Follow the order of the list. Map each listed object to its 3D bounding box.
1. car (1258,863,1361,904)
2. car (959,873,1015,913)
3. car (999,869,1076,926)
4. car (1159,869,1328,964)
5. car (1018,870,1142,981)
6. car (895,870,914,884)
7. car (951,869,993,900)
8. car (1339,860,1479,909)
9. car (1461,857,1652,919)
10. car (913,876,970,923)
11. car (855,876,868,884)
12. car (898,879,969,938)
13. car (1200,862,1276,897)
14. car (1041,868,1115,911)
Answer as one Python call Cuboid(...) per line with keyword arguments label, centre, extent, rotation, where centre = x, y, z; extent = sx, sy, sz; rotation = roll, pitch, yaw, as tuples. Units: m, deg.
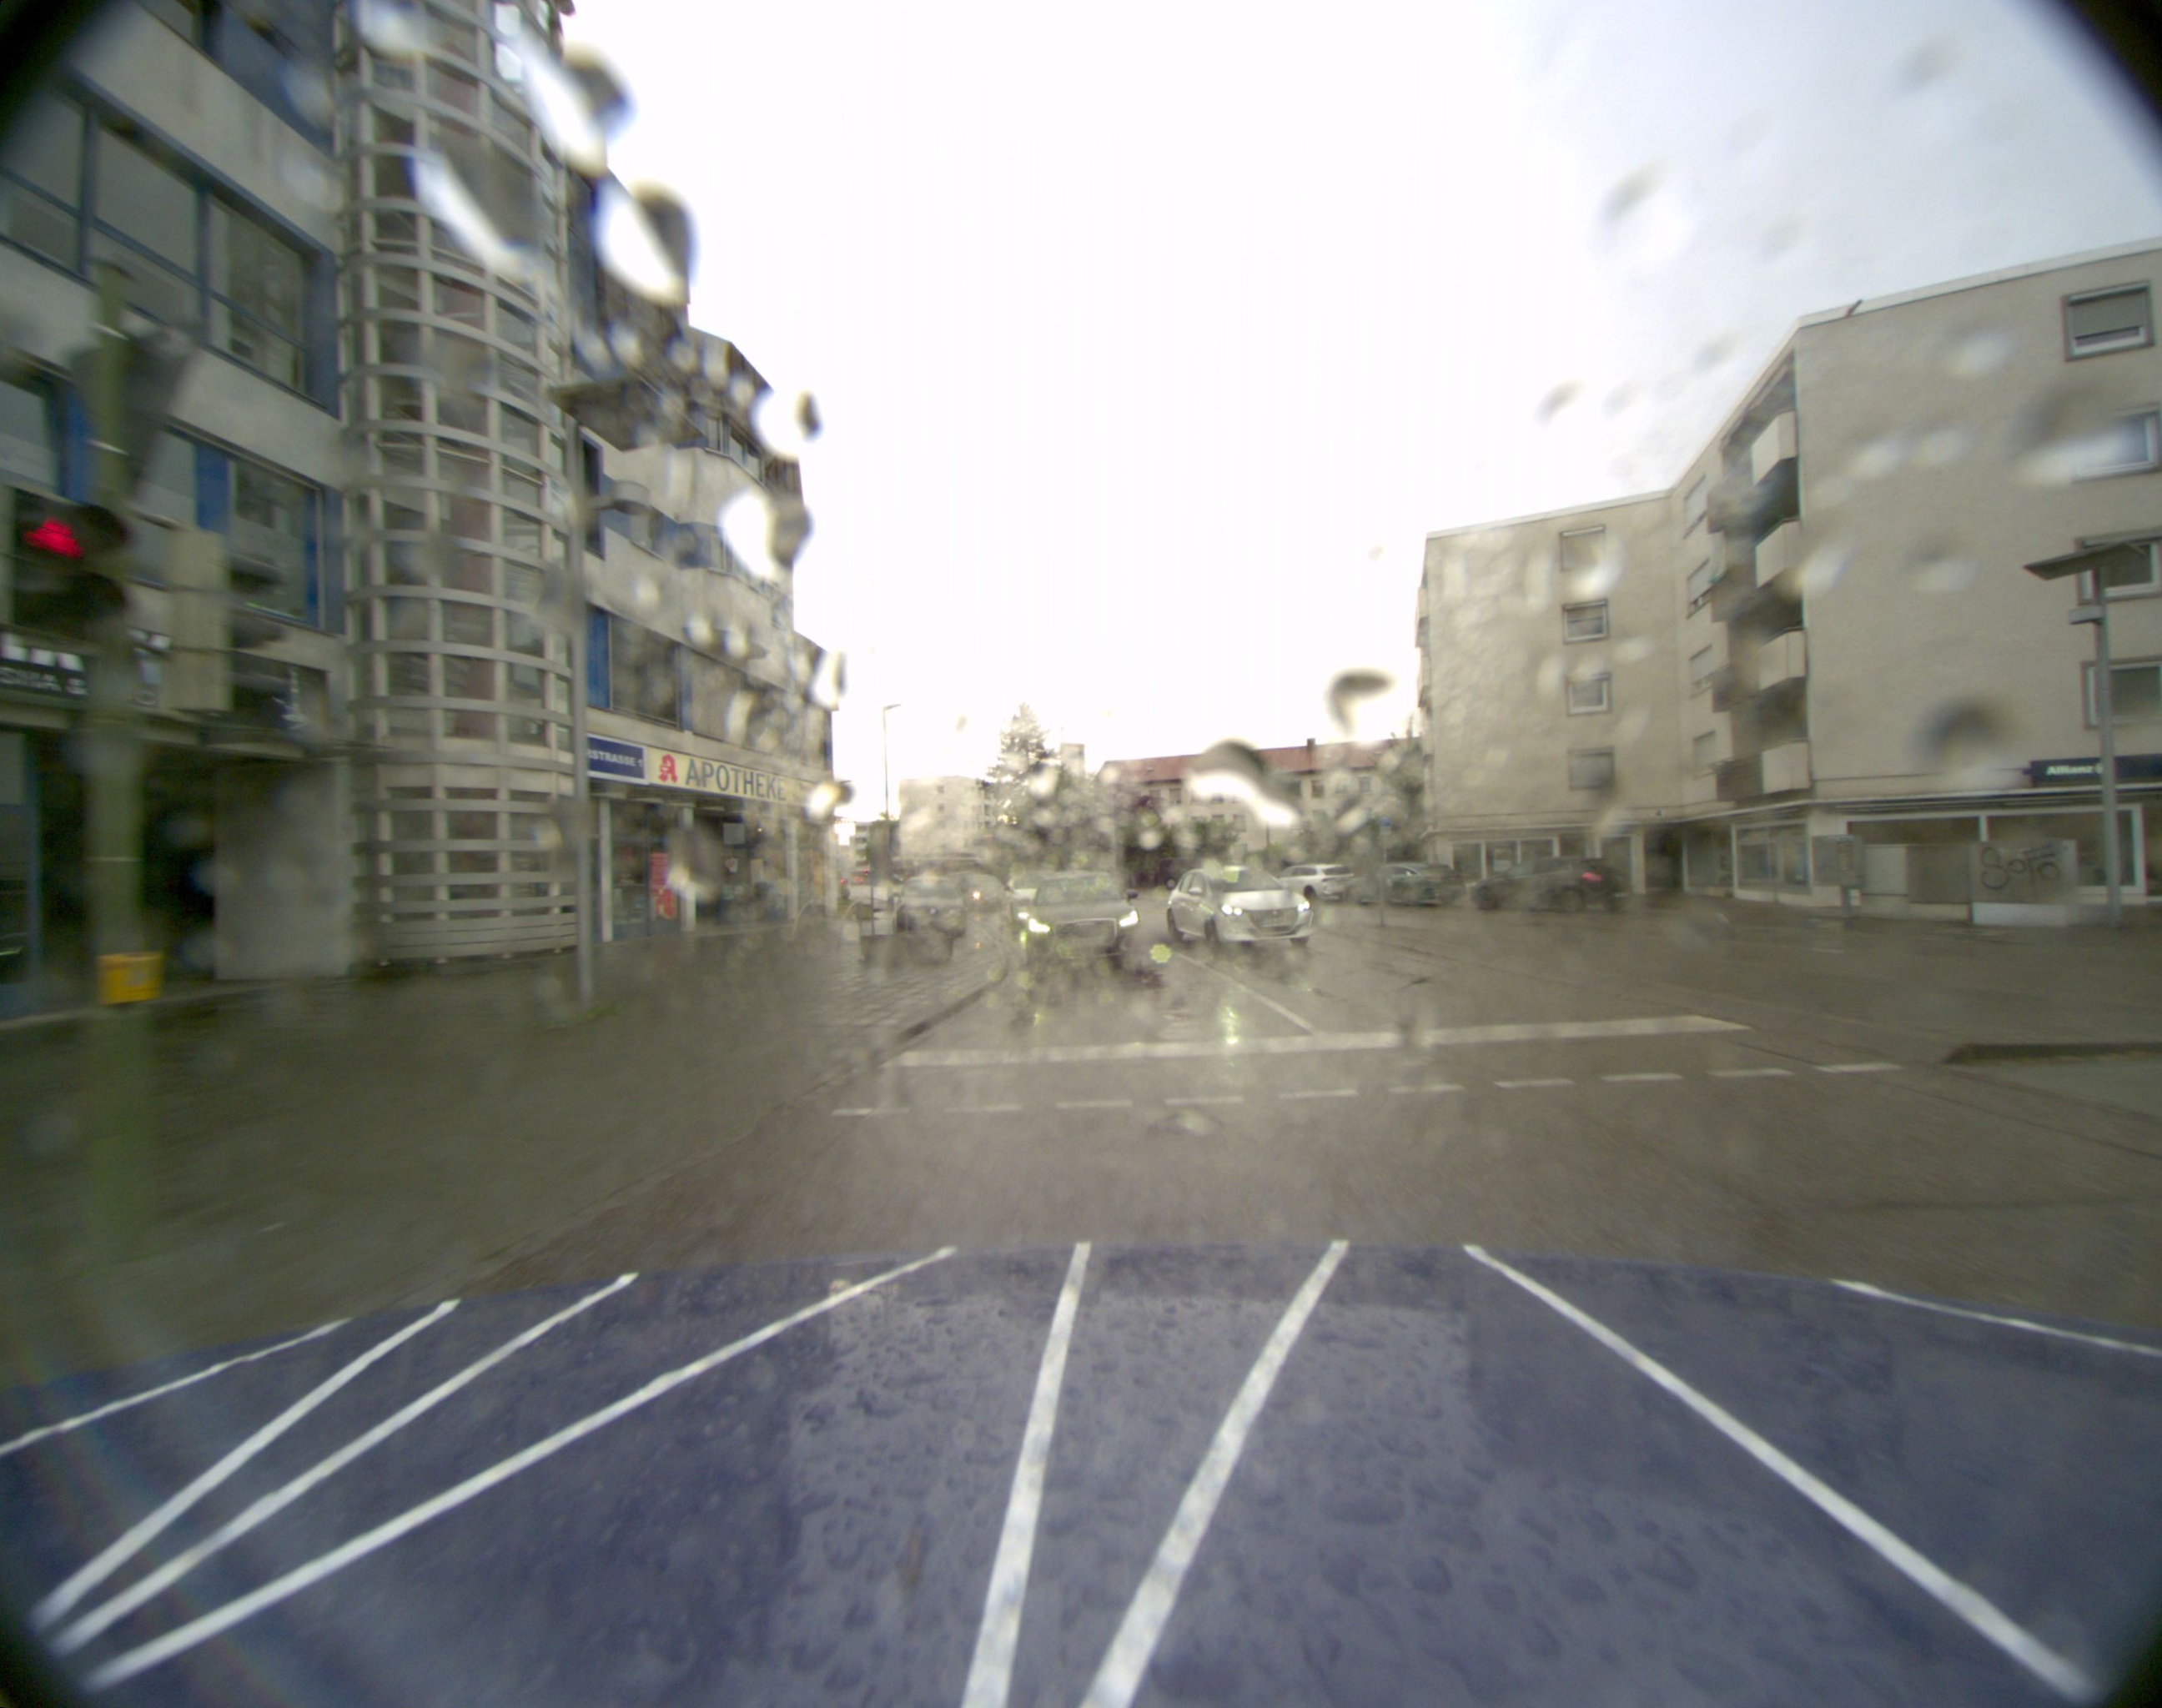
Cuboid(label="car", centre=(9.194, 1.149, 31.000), extent=(1.639, 1.491, 4.339), rotation=(-2, 0, -22))
Cuboid(label="car", centre=(-3.887, 1.515, 30.814), extent=(1.802, 1.360, 3.969), rotation=(-2, 0, -13))
Cuboid(label="car", centre=(-1.424, 1.278, 23.233), extent=(1.735, 1.519, 4.060), rotation=(-2, -1, -12))
Cuboid(label="car", centre=(2.826, 1.036, 14.140), extent=(1.744, 1.401, 3.894), rotation=(-4, -1, -9))
Cuboid(label="car", centre=(-0.030, 1.074, 13.026), extent=(1.734, 1.436, 4.046), rotation=(-2, 0, 0))
Cuboid(label="car", centre=(-21.655, 2.812, 93.153), extent=(1.746, 1.630, 3.994), rotation=(-2, 0, -20))
Cuboid(label="car", centre=(-6.342, 1.731, 43.949), extent=(2.000, 1.605, 3.996), rotation=(-4, 0, -13))
Cuboid(label="car", centre=(11.109, 1.001, 26.081), extent=(1.839, 1.425, 4.266), rotation=(-3, 0, -22))
Cuboid(label="car", centre=(13.003, 0.884, 21.103), extent=(1.839, 1.451, 4.181), rotation=(-3, 0, -22))
Cuboid(label="car", centre=(-4.838, 1.497, 26.041), extent=(1.660, 1.416, 3.996), rotation=(-2, -1, -14))
Cuboid(label="car", centre=(-42.147, 4.898, 145.803), extent=(1.874, 1.428, 3.734), rotation=(-2, 0, -21))
Cuboid(label="car", centre=(-3.951, 1.356, 19.937), extent=(1.656, 1.364, 3.727), rotation=(1, -1, -14))
Cuboid(label="car", centre=(7.396, 1.185, 36.077), extent=(1.636, 1.496, 3.874), rotation=(-2, 0, -22))
Cuboid(label="car", centre=(-0.192, 1.314, 29.418), extent=(1.753, 1.446, 3.808), rotation=(-2, 0, -18))
